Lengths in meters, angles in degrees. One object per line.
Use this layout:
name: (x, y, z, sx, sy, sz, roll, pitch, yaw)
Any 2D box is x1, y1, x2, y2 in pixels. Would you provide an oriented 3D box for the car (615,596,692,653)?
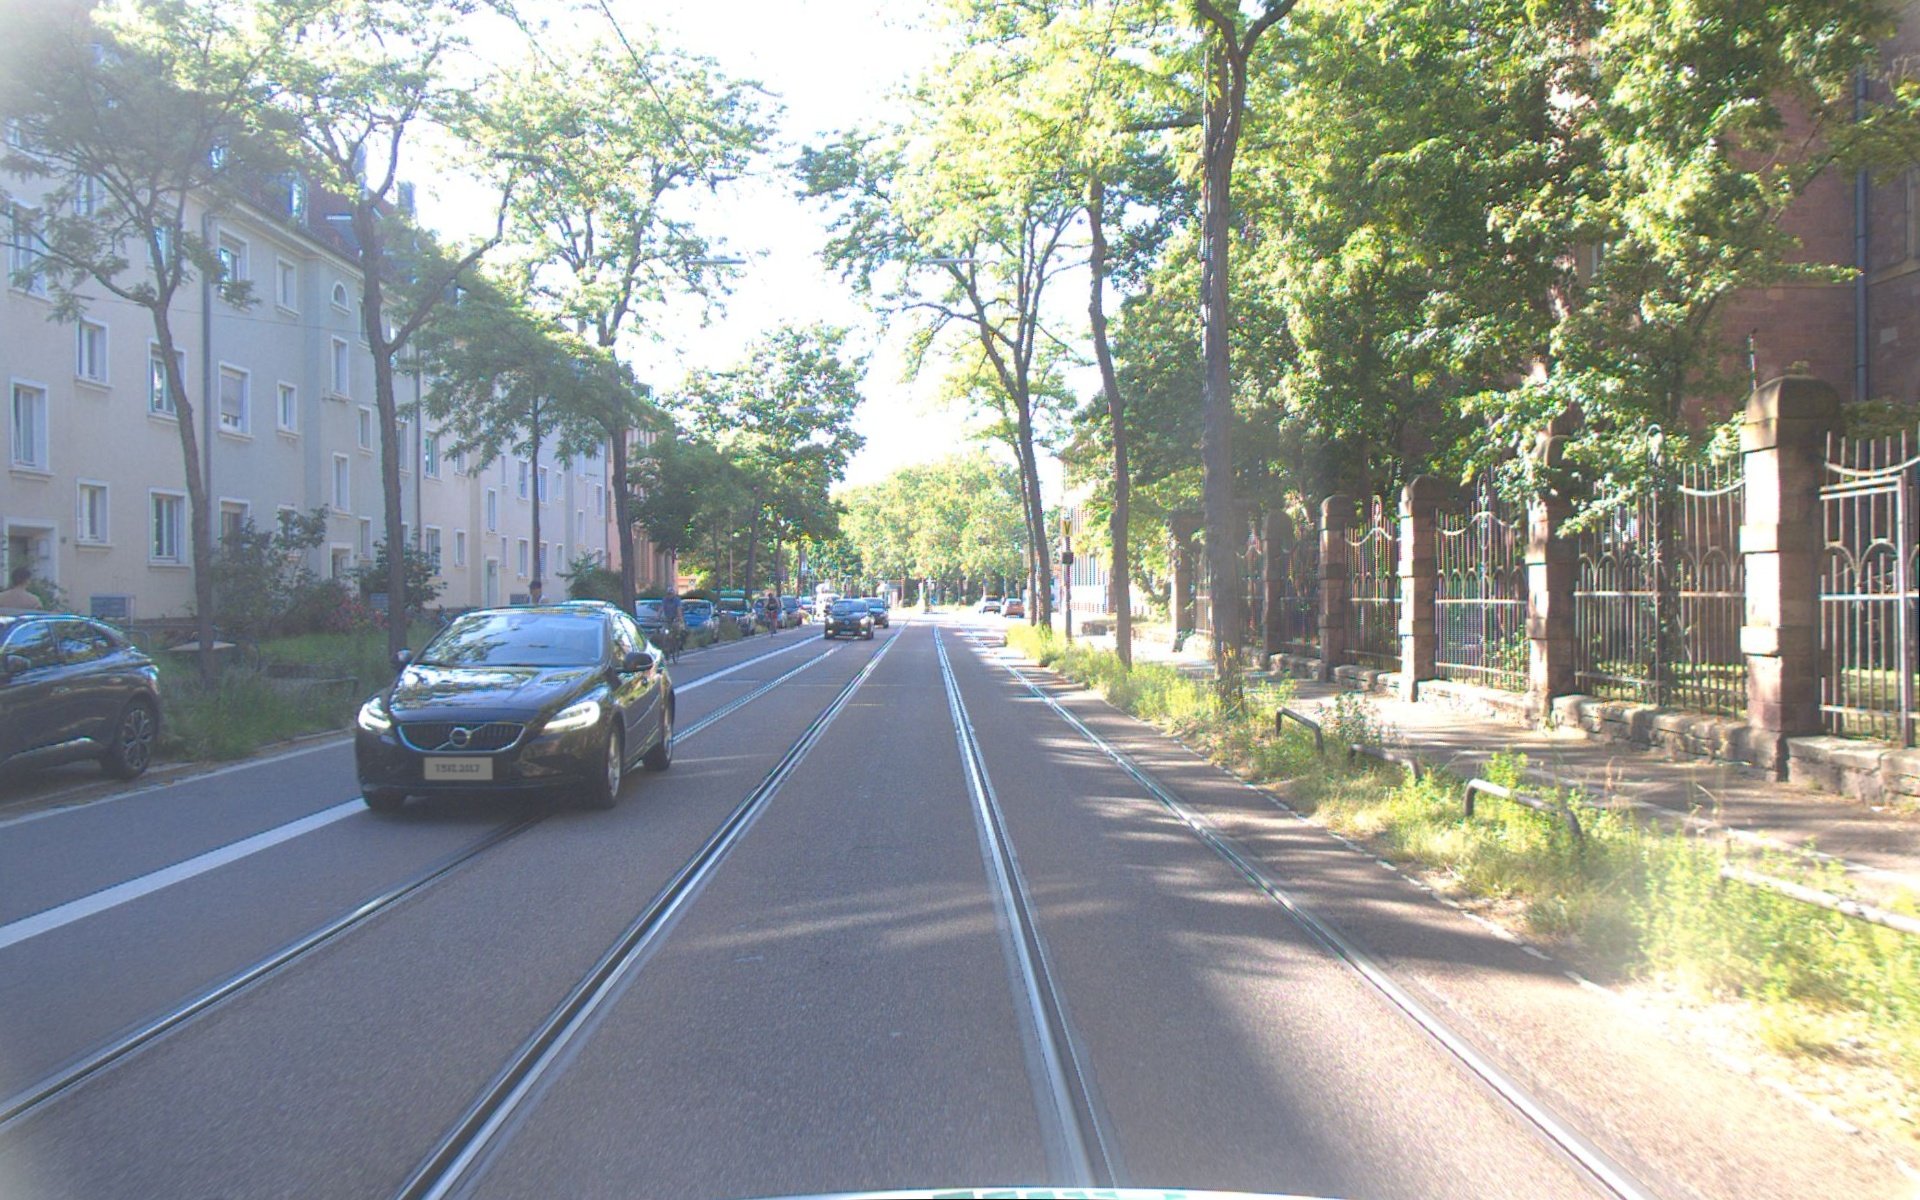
car: (-8.958, 0.688, 48.585, 1.653, 1.511, 3.758, 2, 0, -2)

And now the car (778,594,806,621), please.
car: (-10.116, 0.447, 99.721, 1.551, 1.514, 3.608, 2, 0, -6)

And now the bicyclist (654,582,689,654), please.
bicyclist: (-6.915, 0.420, 39.679, 0.613, 1.667, 0.940, -3, 0, -1)

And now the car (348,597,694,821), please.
car: (-3.259, 0.711, 13.197, 1.722, 1.464, 4.521, 0, 0, -2)

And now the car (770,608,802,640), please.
car: (-9.969, 1.364, 94.802, 1.711, 1.689, 4.386, 2, 0, -5)

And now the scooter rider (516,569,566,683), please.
scooter rider: (-6.555, 0.406, 25.896, 0.486, 1.729, 0.786, -3, 0, -1)

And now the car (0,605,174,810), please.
car: (-8.210, 0.825, 13.339, 1.780, 1.511, 4.205, 1, 0, -1)

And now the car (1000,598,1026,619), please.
car: (4.337, 0.669, 135.220, 1.802, 1.684, 3.577, 0, 0, -3)

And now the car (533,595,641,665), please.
car: (-8.877, 0.680, 39.650, 1.668, 1.511, 4.078, 2, 0, -1)

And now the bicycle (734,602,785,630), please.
bicycle: (-9.289, 0.735, 76.637, 2.236, 1.219, 0.560, 2, 1, 5)

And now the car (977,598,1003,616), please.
car: (2.746, 0.655, 152.762, 1.905, 1.638, 3.994, 0, 0, -6)

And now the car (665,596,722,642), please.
car: (-9.314, 0.648, 57.968, 1.529, 1.482, 3.928, 2, 0, -3)

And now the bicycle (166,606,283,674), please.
bicycle: (-13.571, 0.741, 30.555, 1.869, 1.198, 0.521, 1, 0, -4)

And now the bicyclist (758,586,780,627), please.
bicyclist: (-7.693, 0.262, 66.579, 0.695, 1.635, 0.865, -3, 0, -1)

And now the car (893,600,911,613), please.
car: (-7.387, 0.857, 210.753, 1.905, 1.638, 3.994, 0, 0, -7)

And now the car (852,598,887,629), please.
car: (-4.563, 0.662, 83.753, 1.665, 1.497, 4.069, 0, 0, -2)

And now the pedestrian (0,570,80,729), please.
pedestrian: (-10.980, 0.576, 19.566, 0.677, 1.833, 0.813, -1, 0, -1)

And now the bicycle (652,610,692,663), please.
bicycle: (-6.890, 0.862, 39.668, 0.614, 1.198, 1.912, -3, 0, -1)

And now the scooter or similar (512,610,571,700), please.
scooter or similar: (-6.530, 0.841, 25.856, 0.510, 1.320, 1.377, -3, 0, -1)

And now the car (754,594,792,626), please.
car: (-9.729, 0.500, 86.273, 1.711, 1.597, 4.066, 2, 0, -4)

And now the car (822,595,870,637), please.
car: (-4.180, 0.564, 61.112, 1.665, 1.464, 4.069, 0, 0, -2)

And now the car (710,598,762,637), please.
car: (-9.435, 0.701, 69.887, 1.710, 1.516, 4.322, 2, 0, -2)

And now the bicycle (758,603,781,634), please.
bicycle: (-7.665, 0.724, 66.519, 0.680, 1.198, 1.912, -3, 0, -1)
